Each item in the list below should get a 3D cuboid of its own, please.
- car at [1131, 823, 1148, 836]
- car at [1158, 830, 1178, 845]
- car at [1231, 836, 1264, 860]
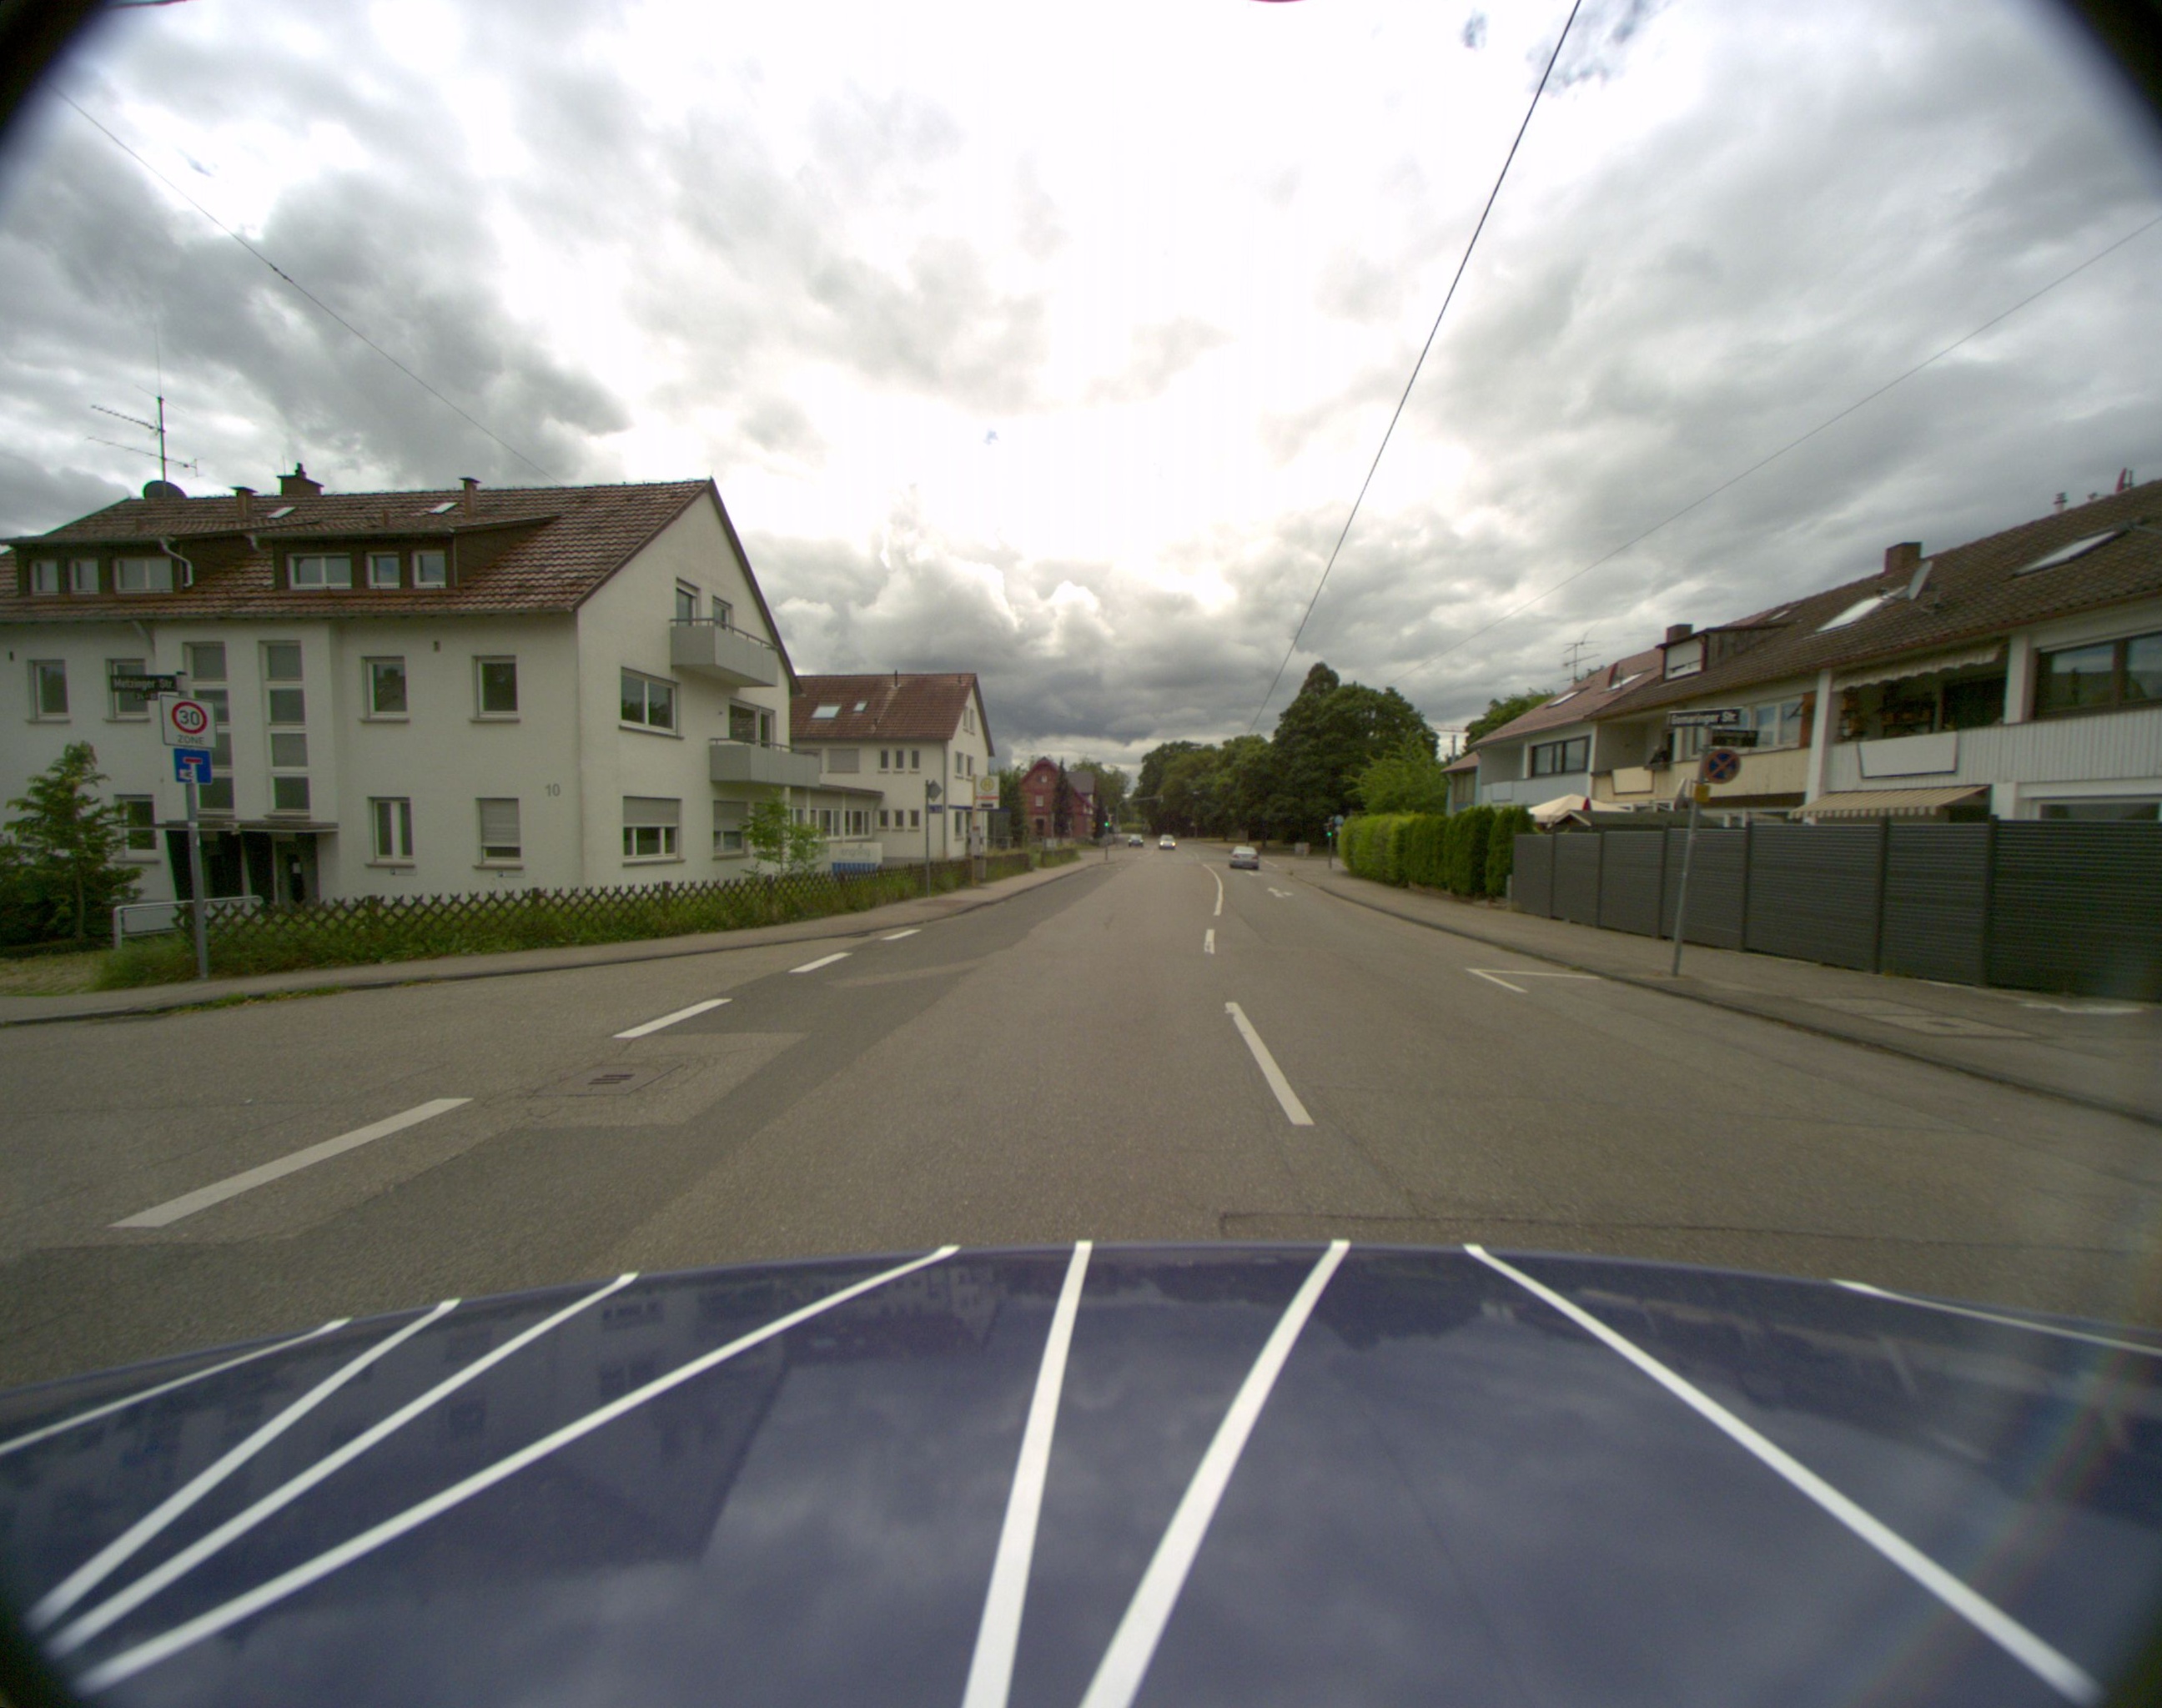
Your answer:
[{"bbox_3d":[7.215,-3.043,93.207,1.925,1.510,4.000,0,3,5],"label":"car"},{"bbox_3d":[9.844,-1.880,85.859,1.780,1.510,3.555,-1,3,-1],"label":"car"},{"bbox_3d":[10.295,-0.407,47.268,1.715,1.346,4.085,5,2,10],"label":"car"}]
